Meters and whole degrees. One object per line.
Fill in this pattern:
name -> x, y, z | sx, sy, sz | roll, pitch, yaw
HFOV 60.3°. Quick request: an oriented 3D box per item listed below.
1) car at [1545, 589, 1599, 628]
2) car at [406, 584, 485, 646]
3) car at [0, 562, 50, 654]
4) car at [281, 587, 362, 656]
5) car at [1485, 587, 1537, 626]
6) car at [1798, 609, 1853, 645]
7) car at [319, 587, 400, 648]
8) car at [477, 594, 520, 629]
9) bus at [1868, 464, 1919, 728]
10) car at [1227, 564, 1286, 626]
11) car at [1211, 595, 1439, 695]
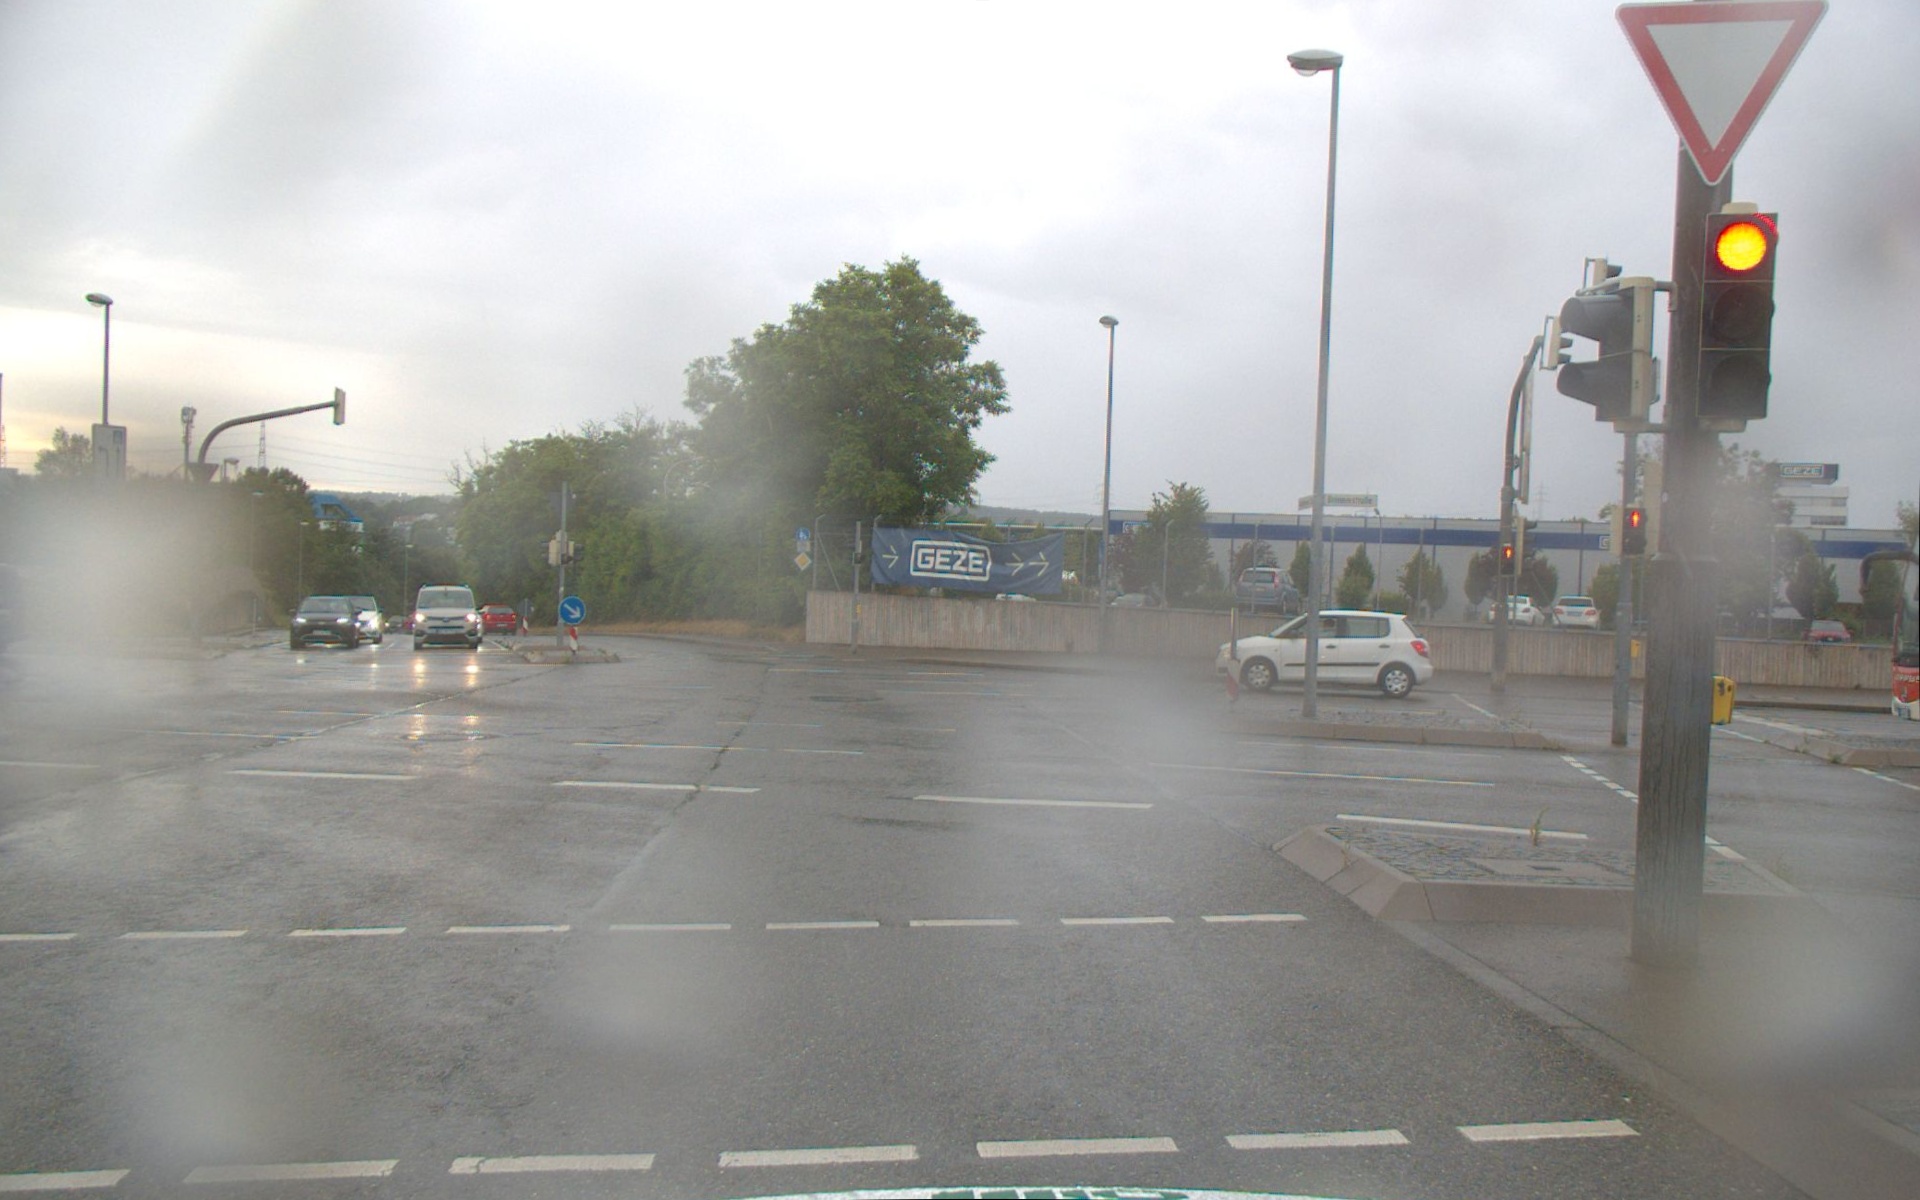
car -> 25.365, 0.334, 68.616 | 1.952, 1.504, 4.001 | 2, 1, 19
car -> -14.865, 0.402, 47.959 | 1.960, 1.646, 3.984 | 1, 1, -15
car -> -21.713, 0.110, 34.930 | 3.902, 1.881, 2.002 | 2, 0, 8
car -> -18.660, 0.599, 48.498 | 1.963, 1.928, 3.979 | 2, 0, -19
car -> 23.069, 0.262, 69.208 | 1.952, 1.504, 4.001 | 2, 1, 19
car -> 38.808, 1.177, 74.121 | 1.736, 1.504, 3.636 | 2, 1, 34
car -> -20.206, 0.560, 55.785 | 1.958, 1.928, 3.989 | 1, 1, -12
car -> -22.815, 0.563, 81.675 | 1.593, 1.474, 3.782 | 2, 1, -22
bus -> 18.282, 0.206, 20.280 | 12.020, 3.379, 3.076 | 3, 1, 17
car -> 10.486, -0.180, 58.424 | 1.951, 2.049, 4.003 | 2, 0, 11
car -> 6.666, 0.778, 30.296 | 3.902, 1.624, 1.959 | 2, 1, 13
